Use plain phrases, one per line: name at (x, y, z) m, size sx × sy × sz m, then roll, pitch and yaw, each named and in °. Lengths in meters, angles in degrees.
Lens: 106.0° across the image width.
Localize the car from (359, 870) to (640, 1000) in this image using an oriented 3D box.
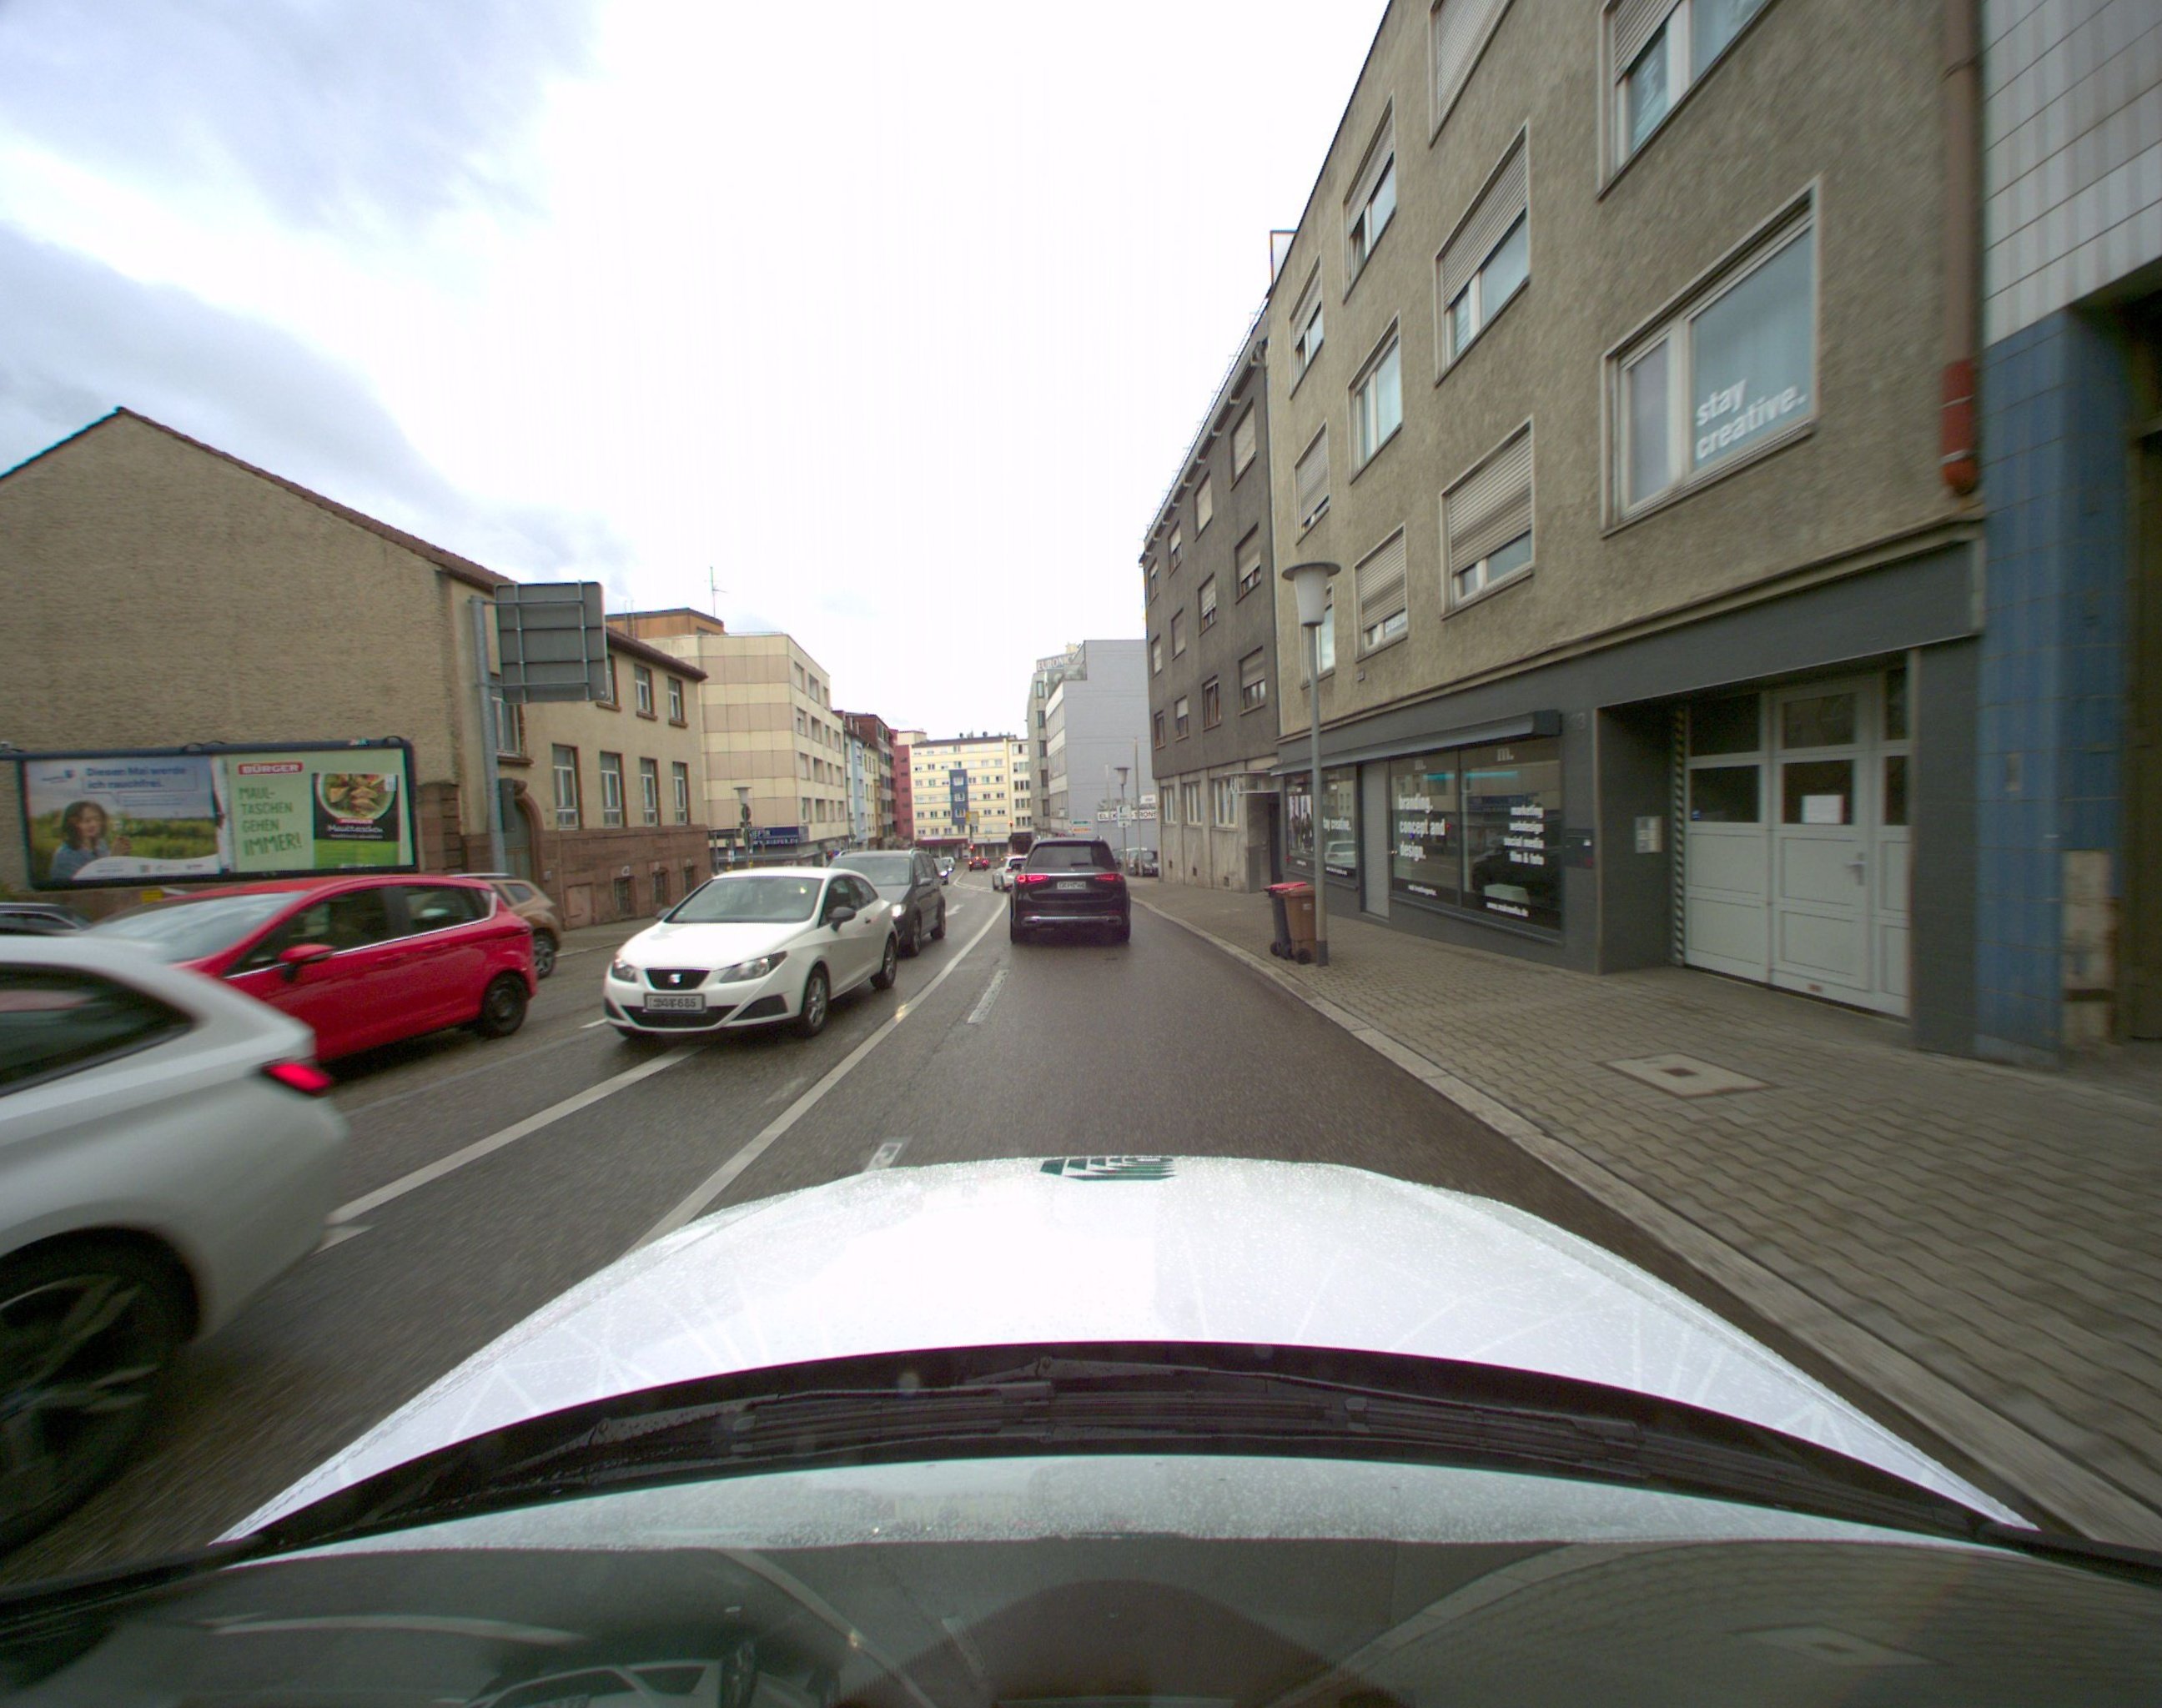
car at (-9.099, 1.152, 13.213) m, size 1.651 × 1.610 × 3.927 m, roll -4°, pitch 0°, yaw -1°

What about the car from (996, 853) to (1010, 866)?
car at (-9.500, 0.642, 99.285) m, size 1.520 × 1.548 × 3.102 m, roll -2°, pitch 1°, yaw -5°

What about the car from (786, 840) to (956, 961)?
car at (-3.351, 0.680, 13.948) m, size 1.801 × 1.705 × 4.559 m, roll 0°, pitch 0°, yaw -1°

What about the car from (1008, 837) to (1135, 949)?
car at (-0.337, 0.613, 15.257) m, size 2.017 × 1.739 × 4.739 m, roll 0°, pitch 0°, yaw -5°

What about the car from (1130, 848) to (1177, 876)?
car at (3.976, 0.416, 45.420) m, size 1.794 × 1.477 × 4.477 m, roll -1°, pitch 0°, yaw -5°

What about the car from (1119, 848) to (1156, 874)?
car at (3.498, 0.420, 50.782) m, size 1.564 × 1.477 × 4.060 m, roll -1°, pitch 0°, yaw -7°

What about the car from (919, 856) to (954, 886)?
car at (-7.984, 0.929, 45.088) m, size 1.723 × 1.516 × 4.355 m, roll -4°, pitch 0°, yaw -9°

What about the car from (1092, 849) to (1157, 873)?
car at (2.932, 0.455, 54.870) m, size 4.007 × 1.495 × 1.718 m, roll -1°, pitch -2°, yaw -26°

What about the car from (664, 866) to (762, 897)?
car at (-19.581, 1.454, 43.446) m, size 4.314 × 1.512 × 1.900 m, roll -1°, pitch 0°, yaw 4°

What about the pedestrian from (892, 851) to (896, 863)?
pedestrian at (-23.762, 0.347, 103.606) m, size 0.317 × 1.474 × 0.338 m, roll -2°, pitch 4°, yaw -2°

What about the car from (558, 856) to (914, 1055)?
car at (-3.033, 0.774, 8.258) m, size 1.692 × 1.480 × 4.292 m, roll 0°, pitch 0°, yaw 1°

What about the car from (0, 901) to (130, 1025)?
car at (-14.196, 1.410, 9.192) m, size 1.688 × 1.455 × 4.656 m, roll -1°, pitch 0°, yaw -5°

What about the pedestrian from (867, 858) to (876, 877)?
pedestrian at (-19.503, 1.275, 75.870) m, size 0.740 × 1.652 × 0.604 m, roll -2°, pitch 4°, yaw -10°

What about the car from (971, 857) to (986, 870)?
car at (-10.564, 0.953, 84.307) m, size 1.282 × 1.124 × 2.785 m, roll -2°, pitch 4°, yaw -3°

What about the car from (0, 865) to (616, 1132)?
car at (-6.179, 0.937, 7.153) m, size 1.735 × 1.516 × 4.129 m, roll -4°, pitch 0°, yaw -1°

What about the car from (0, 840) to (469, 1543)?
car at (-3.288, 0.763, 0.798) m, size 1.800 × 1.521 × 4.562 m, roll -3°, pitch 0°, yaw 1°

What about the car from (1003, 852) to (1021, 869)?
car at (-6.783, 0.603, 80.213) m, size 1.522 × 1.548 × 3.098 m, roll -2°, pitch 1°, yaw -9°

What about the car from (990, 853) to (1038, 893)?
car at (-2.859, 0.742, 34.551) m, size 1.828 × 1.461 × 4.370 m, roll -3°, pitch 0°, yaw -6°

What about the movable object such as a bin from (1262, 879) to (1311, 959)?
movable object such as a bin at (2.717, 0.849, 10.801) m, size 0.523 × 0.980 × 0.538 m, roll -2°, pitch 4°, yaw 1°

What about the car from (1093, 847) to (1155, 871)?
car at (3.028, 0.355, 57.553) m, size 4.007 × 1.597 × 1.784 m, roll -1°, pitch -2°, yaw -26°

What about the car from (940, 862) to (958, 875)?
car at (-14.758, 1.591, 91.136) m, size 1.716 × 1.317 × 4.126 m, roll -3°, pitch 1°, yaw -12°

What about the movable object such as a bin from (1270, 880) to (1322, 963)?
movable object such as a bin at (2.696, 0.840, 10.236) m, size 0.523 × 0.950 × 0.538 m, roll -2°, pitch 4°, yaw 1°
